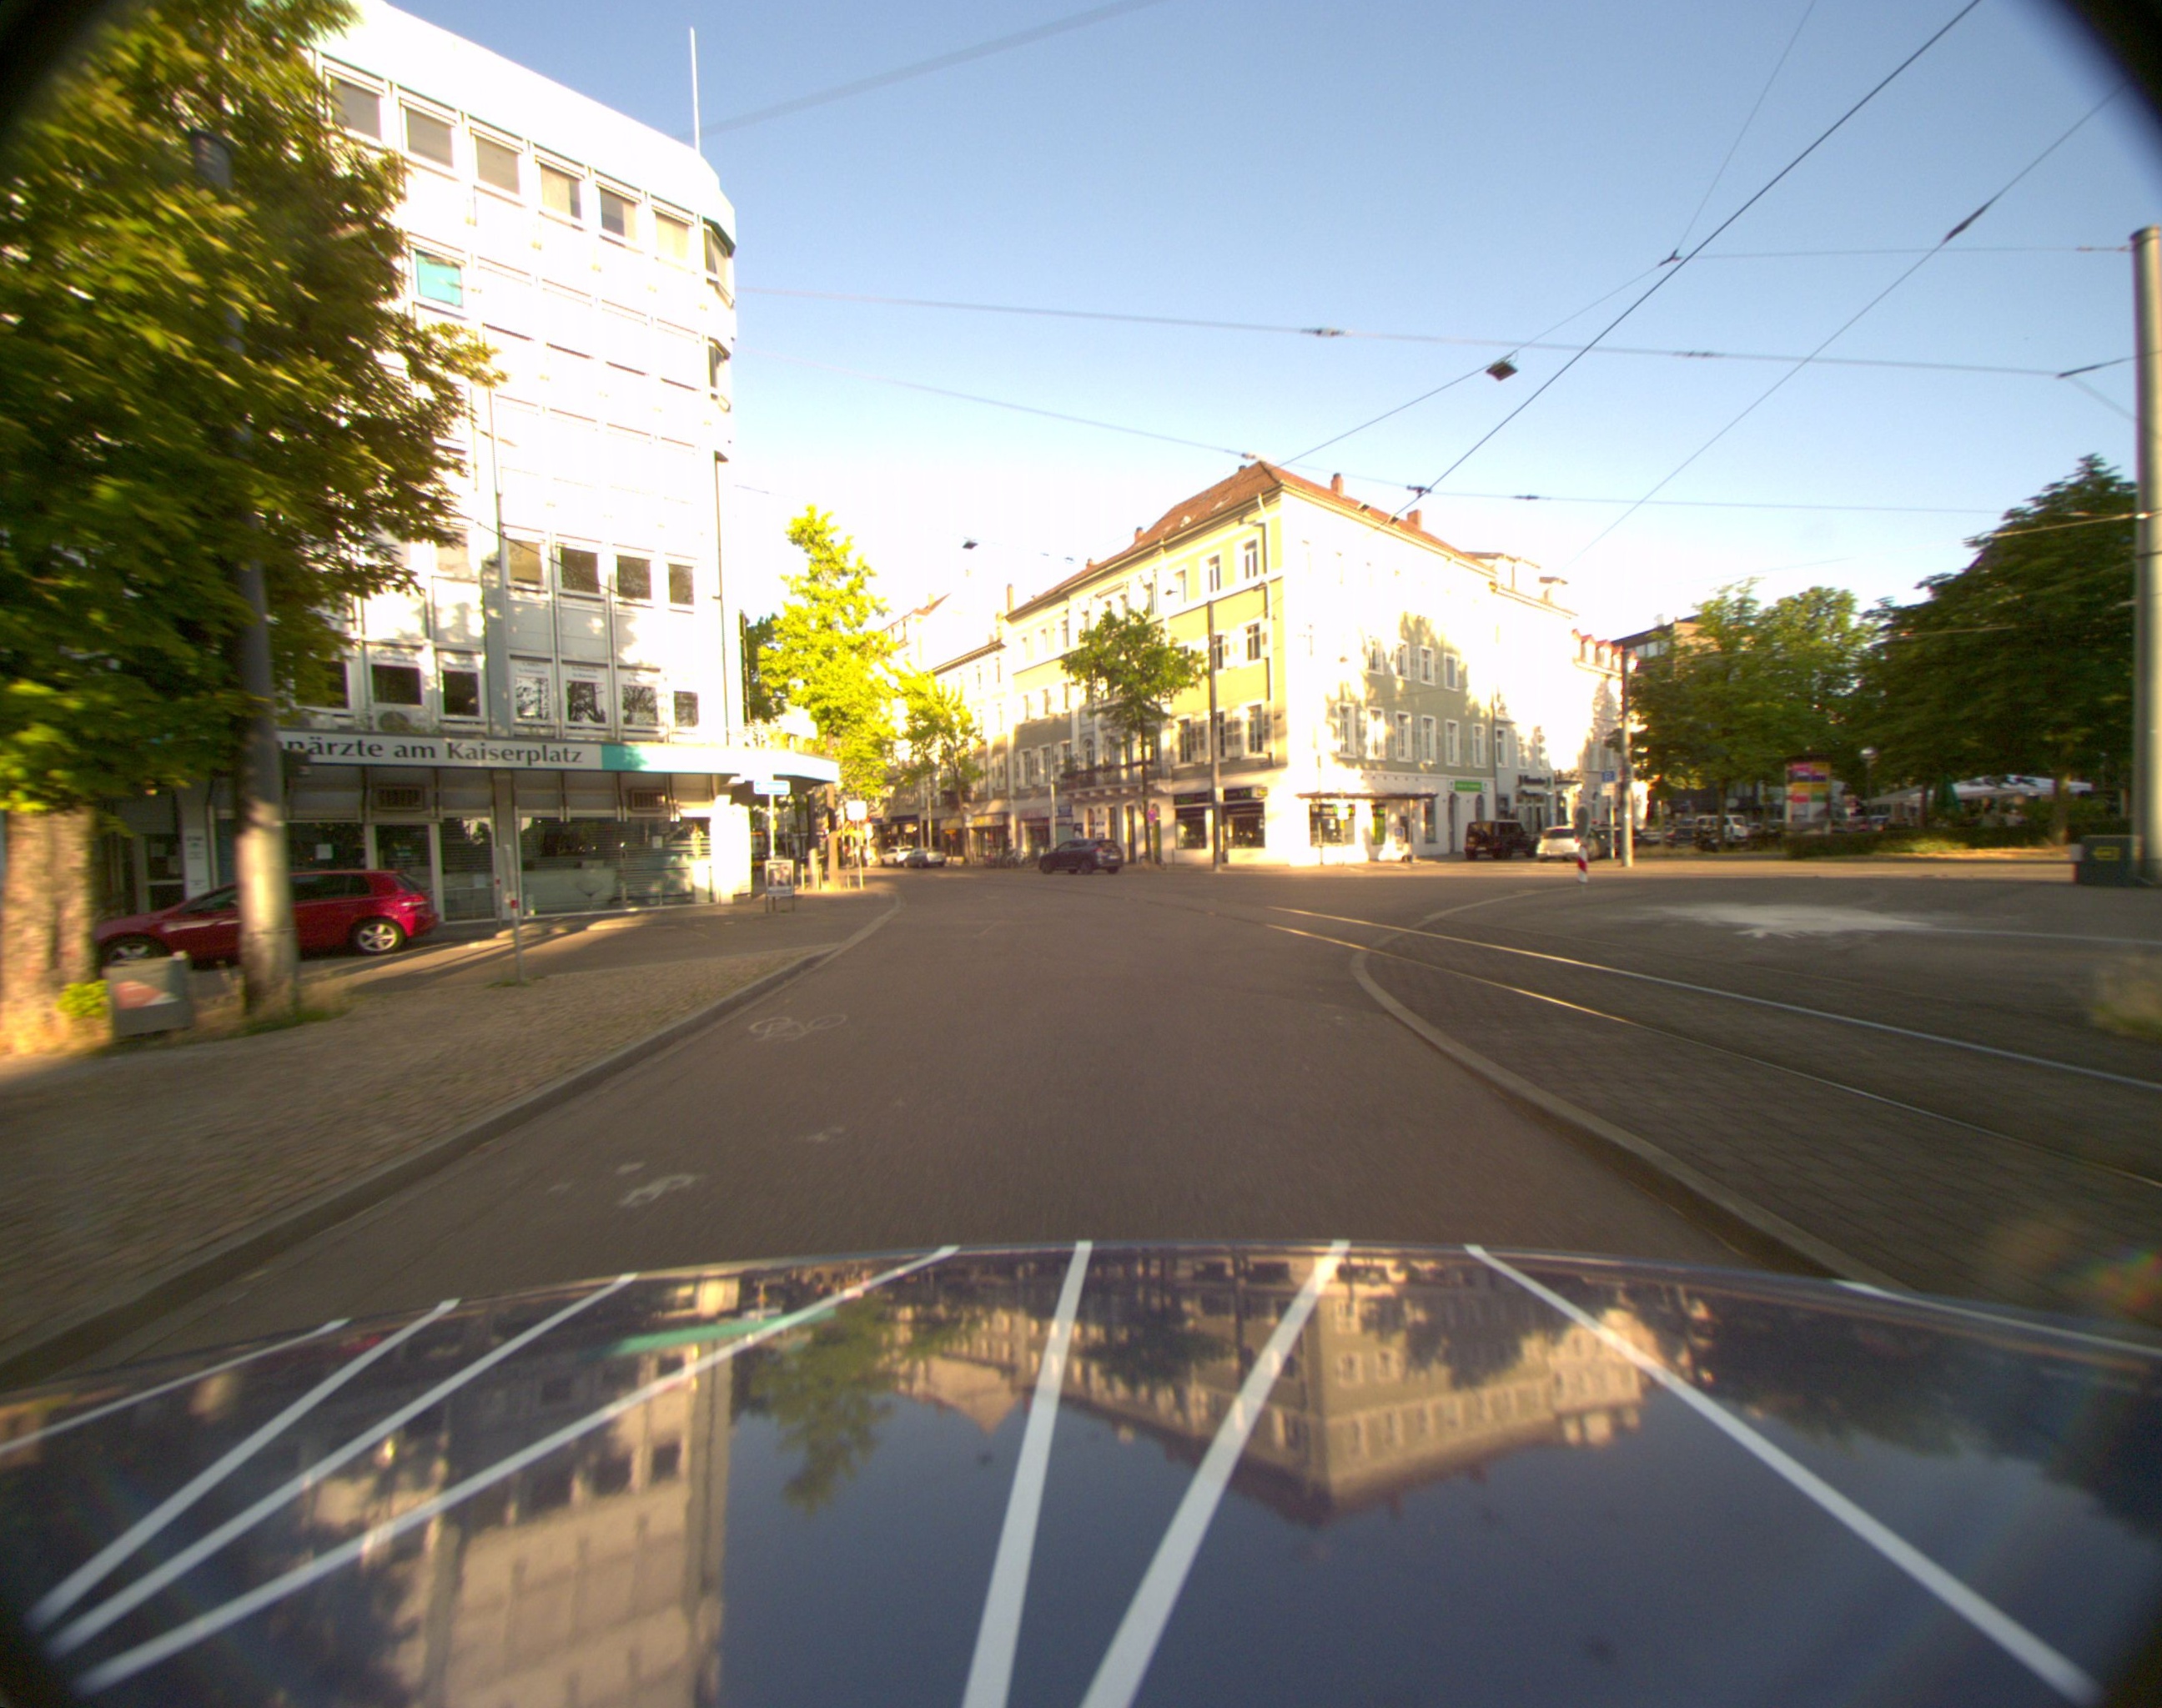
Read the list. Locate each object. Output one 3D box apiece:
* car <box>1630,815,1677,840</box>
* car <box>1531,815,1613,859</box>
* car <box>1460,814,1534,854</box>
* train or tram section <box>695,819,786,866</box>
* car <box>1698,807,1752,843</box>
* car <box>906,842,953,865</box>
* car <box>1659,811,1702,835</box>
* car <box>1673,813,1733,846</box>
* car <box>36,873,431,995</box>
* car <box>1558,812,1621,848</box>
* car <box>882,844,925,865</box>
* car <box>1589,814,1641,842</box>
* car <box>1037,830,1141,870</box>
[{"bbox_3d":[40.935,-1.928,54.271,4.007,1.633,1.854,-3,1,-41],"label":"car"},{"bbox_3d":[20.716,-0.724,32.000,4.007,1.696,1.854,-3,1,-41],"label":"car"},{"bbox_3d":[21.156,-1.019,38.629,4.007,1.893,1.994,-3,1,-41],"label":"car"},{"bbox_3d":[-28.885,-0.961,63.935,2.955,3.564,13.328,-4,3,-41],"label":"train or tram section"},{"bbox_3d":[38.499,-1.740,45.371,4.007,1.988,1.854,-3,1,-41],"label":"car"},{"bbox_3d":[-10.959,0.009,54.705,1.727,1.543,3.957,-3,1,-37],"label":"car"},{"bbox_3d":[45.561,-2.352,57.732,4.007,1.743,1.854,-3,1,-41],"label":"car"},{"bbox_3d":[34.153,-1.349,41.694,4.007,1.696,1.854,-3,1,-41],"label":"car"},{"bbox_3d":[-13.370,1.154,12.453,4.007,1.441,1.843,-3,1,-39],"label":"car"},{"bbox_3d":[29.185,-1.382,43.560,4.007,1.893,1.994,-3,1,-41],"label":"car"},{"bbox_3d":[-13.845,0.060,59.149,1.806,1.543,3.957,-3,1,-37],"label":"car"},{"bbox_3d":[35.058,-1.725,49.855,4.007,1.696,1.854,-3,1,-41],"label":"car"},{"bbox_3d":[0.283,-0.160,35.001,2.004,1.674,4.730,-3,1,-43],"label":"car"}]
